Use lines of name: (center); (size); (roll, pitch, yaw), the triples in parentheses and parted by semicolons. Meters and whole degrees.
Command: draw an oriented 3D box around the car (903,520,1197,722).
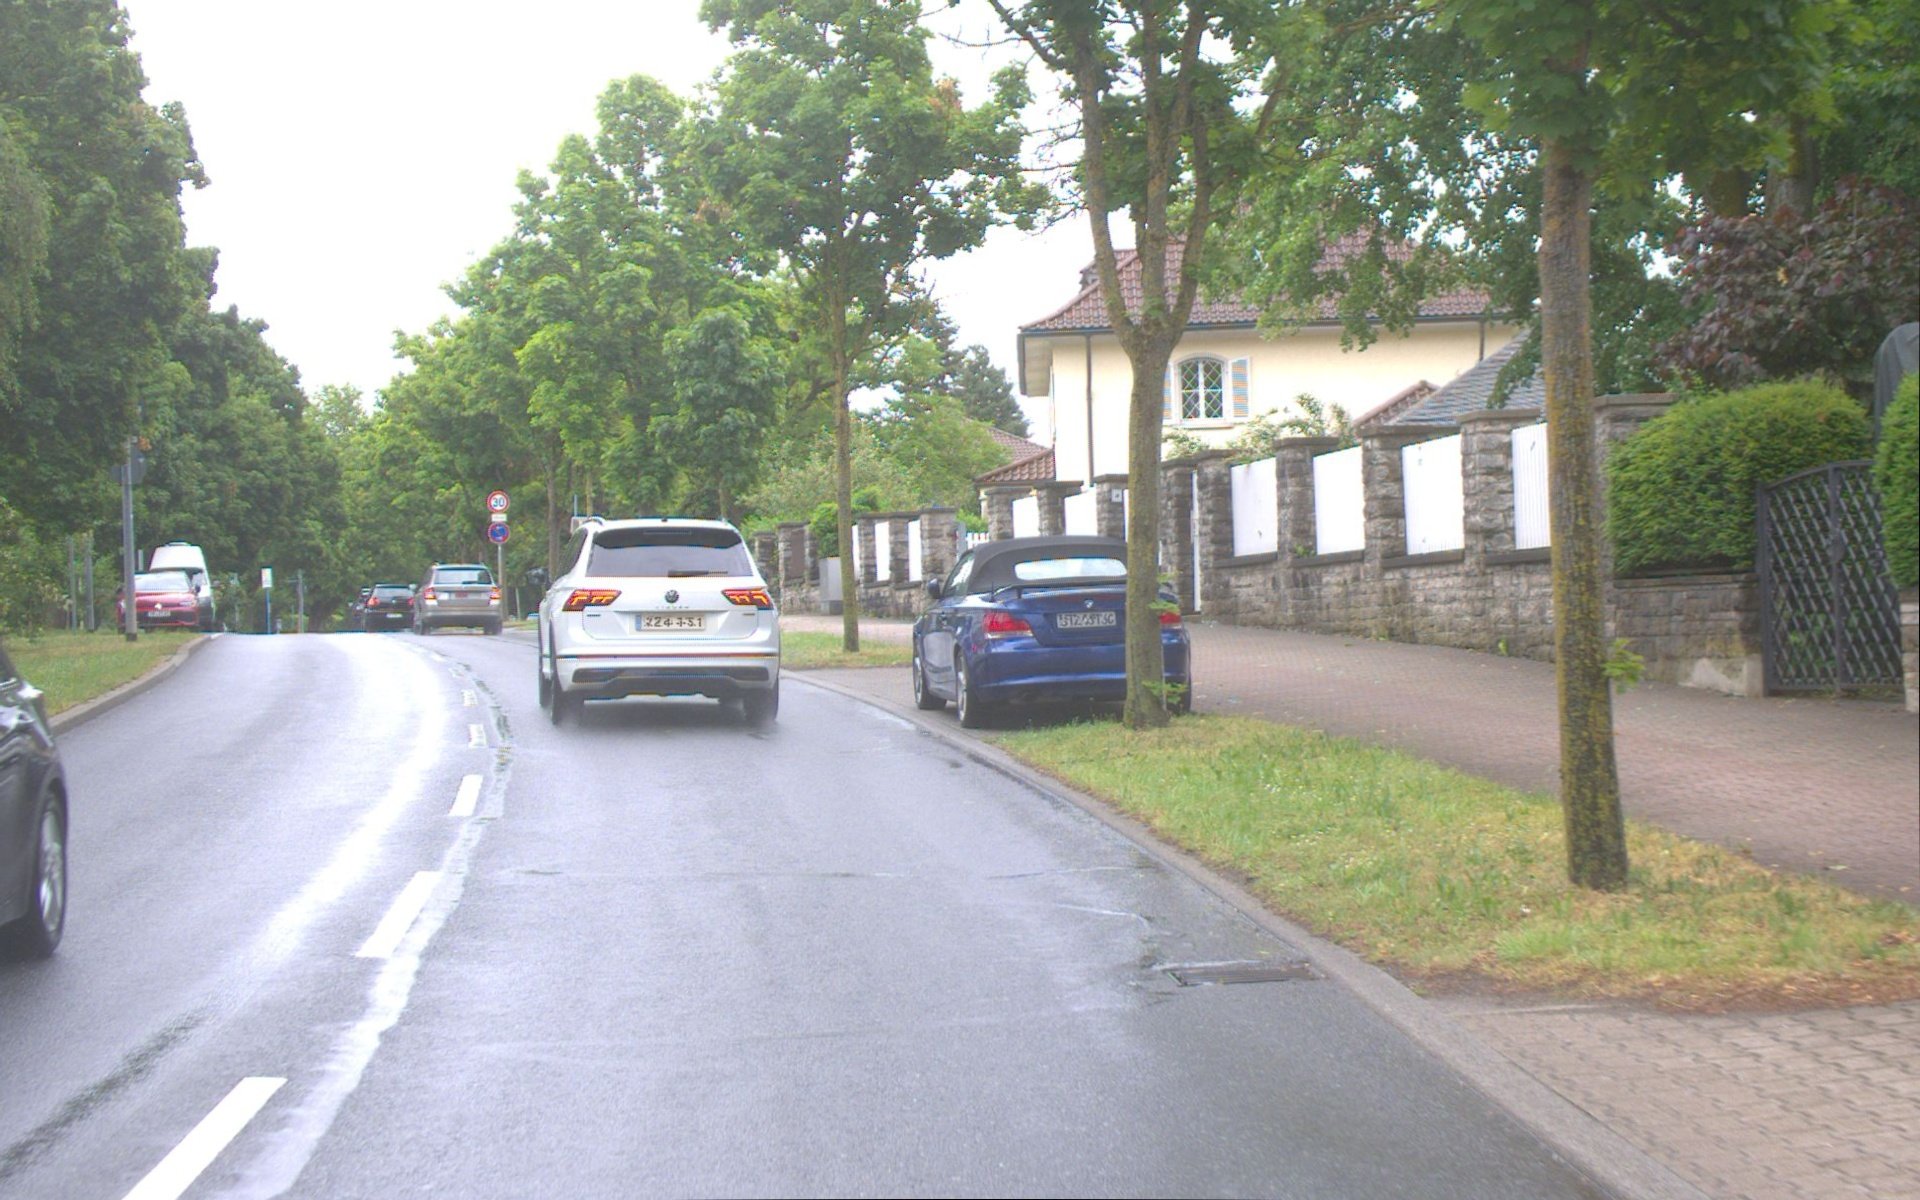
car: (0.624, 0.122, 26.805); (1.641, 1.373, 3.830); (-3, 1, -7)

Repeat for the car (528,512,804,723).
car: (-2.531, 0.081, 28.763); (1.996, 1.626, 4.001); (-1, 2, -9)

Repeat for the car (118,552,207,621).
car: (-17.723, -0.289, 76.500); (1.842, 1.461, 4.251); (-1, 0, -12)

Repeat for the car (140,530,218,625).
car: (-21.983, -0.607, 96.920); (1.993, 2.552, 5.234); (-2, 0, -12)

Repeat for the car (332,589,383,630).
car: (-22.705, 0.337, 129.532); (1.851, 1.413, 4.227); (0, 1, -10)

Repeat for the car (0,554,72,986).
car: (-4.054, 0.587, 11.058); (1.754, 1.436, 4.158); (0, 1, -6)

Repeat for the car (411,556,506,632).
car: (-10.421, -0.148, 71.227); (1.840, 1.482, 4.001); (0, 1, -10)

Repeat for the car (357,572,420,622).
car: (-17.480, -0.111, 104.997); (1.851, 1.413, 4.227); (0, 1, -10)
